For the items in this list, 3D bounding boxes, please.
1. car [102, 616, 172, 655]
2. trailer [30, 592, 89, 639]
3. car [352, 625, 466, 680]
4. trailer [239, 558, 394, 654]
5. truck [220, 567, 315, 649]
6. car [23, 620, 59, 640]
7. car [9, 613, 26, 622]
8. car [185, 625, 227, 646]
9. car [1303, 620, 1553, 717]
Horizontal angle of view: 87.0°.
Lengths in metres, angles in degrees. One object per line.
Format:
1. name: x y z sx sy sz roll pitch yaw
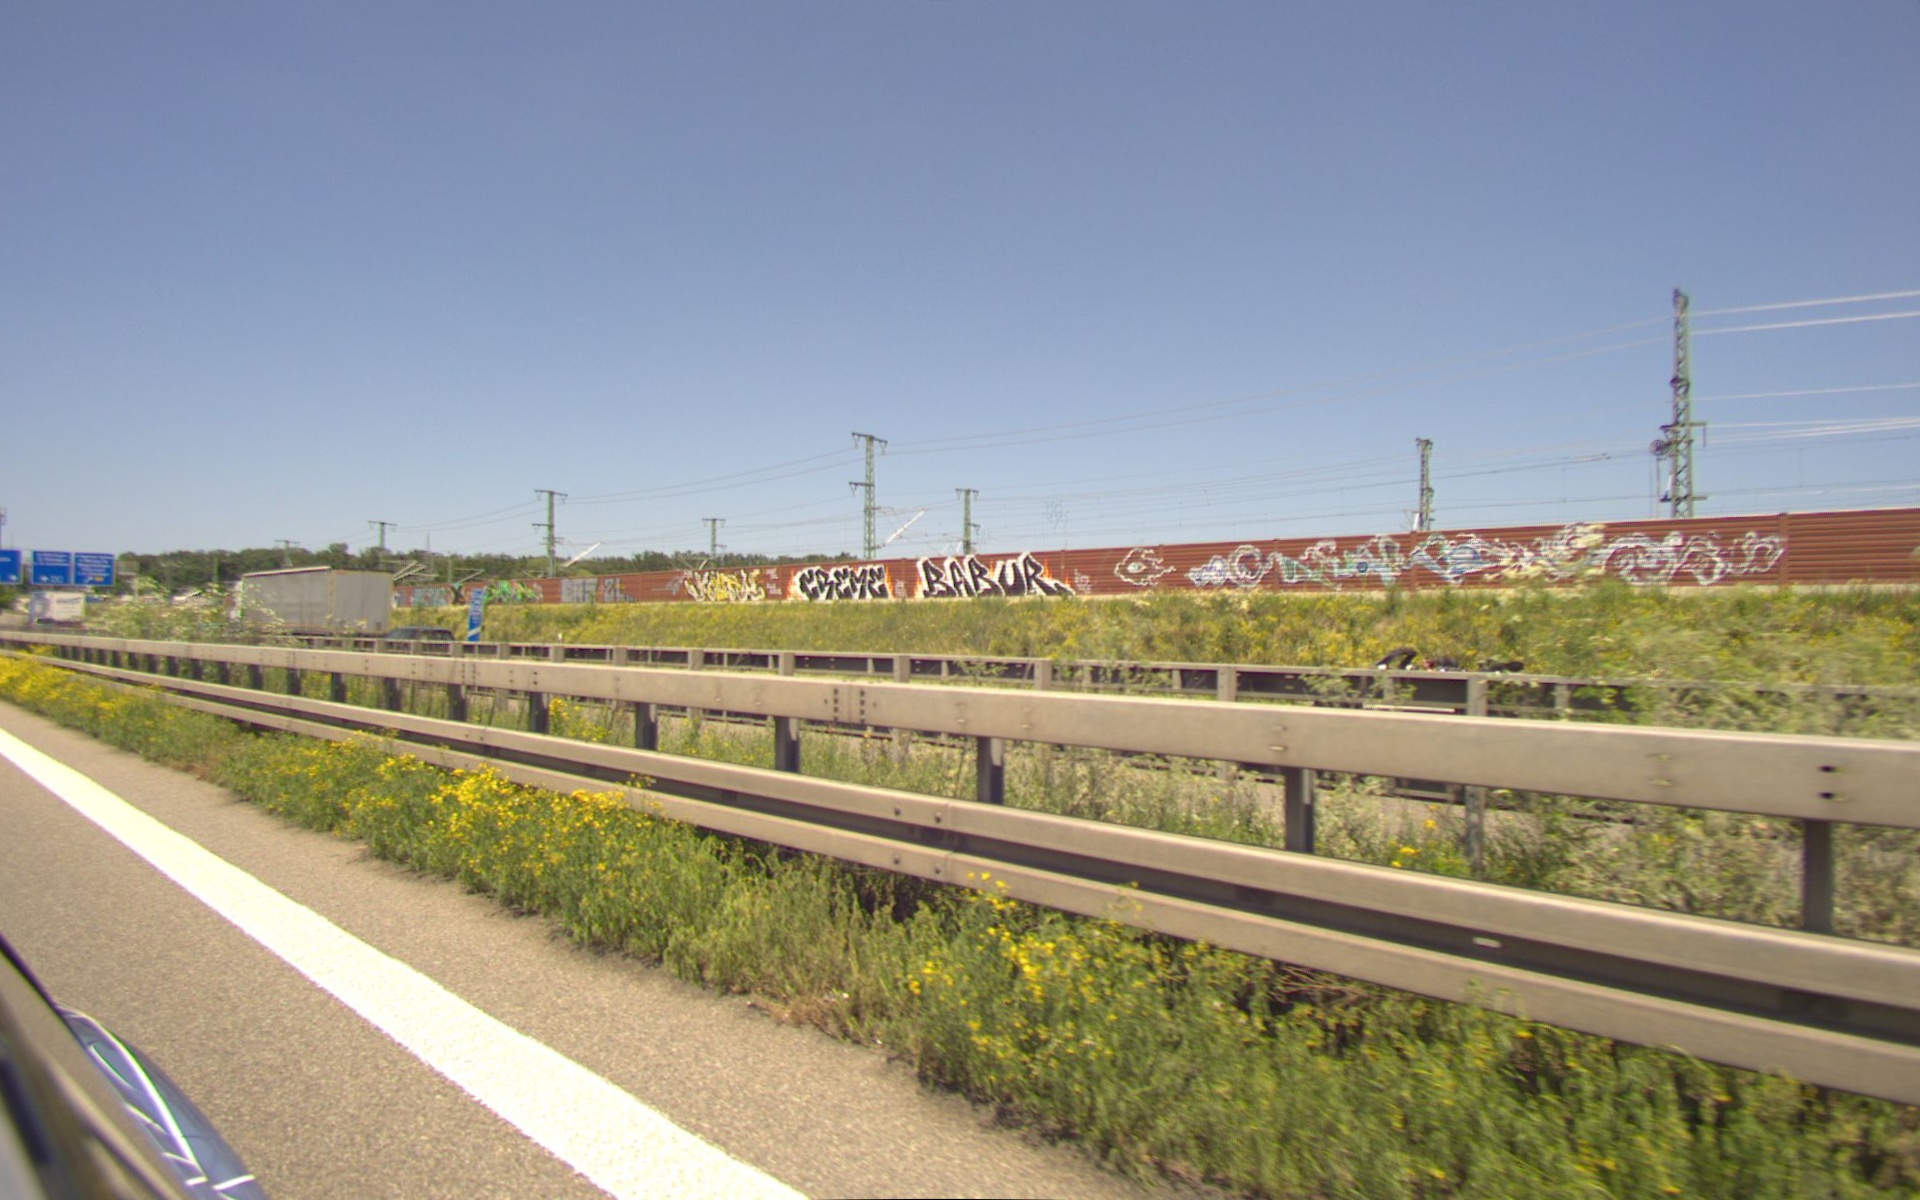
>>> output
1. car: -33.345 1.426 40.976 3.812 1.490 1.628 -1 -1 42
2. trailer: -89.375 1.555 100.334 12.086 4.441 2.858 -1 -2 42
3. car: -16.376 1.513 29.997 3.841 1.490 1.797 -1 -1 42
4. trailer: -31.323 0.387 48.852 13.525 4.105 2.701 -1 -2 42
5. truck: -36.983 0.492 53.948 6.379 4.103 2.701 -1 -2 42
6. car: -76.874 2.488 84.627 4.360 1.660 1.797 -1 -1 42
7. car: -182.448 3.374 195.855 4.512 1.739 1.972 -1 0 42
8. car: -56.230 2.628 75.456 3.834 1.531 1.735 -1 -1 42
9. car: 8.446 1.158 18.424 3.808 1.556 1.702 -1 -1 42
